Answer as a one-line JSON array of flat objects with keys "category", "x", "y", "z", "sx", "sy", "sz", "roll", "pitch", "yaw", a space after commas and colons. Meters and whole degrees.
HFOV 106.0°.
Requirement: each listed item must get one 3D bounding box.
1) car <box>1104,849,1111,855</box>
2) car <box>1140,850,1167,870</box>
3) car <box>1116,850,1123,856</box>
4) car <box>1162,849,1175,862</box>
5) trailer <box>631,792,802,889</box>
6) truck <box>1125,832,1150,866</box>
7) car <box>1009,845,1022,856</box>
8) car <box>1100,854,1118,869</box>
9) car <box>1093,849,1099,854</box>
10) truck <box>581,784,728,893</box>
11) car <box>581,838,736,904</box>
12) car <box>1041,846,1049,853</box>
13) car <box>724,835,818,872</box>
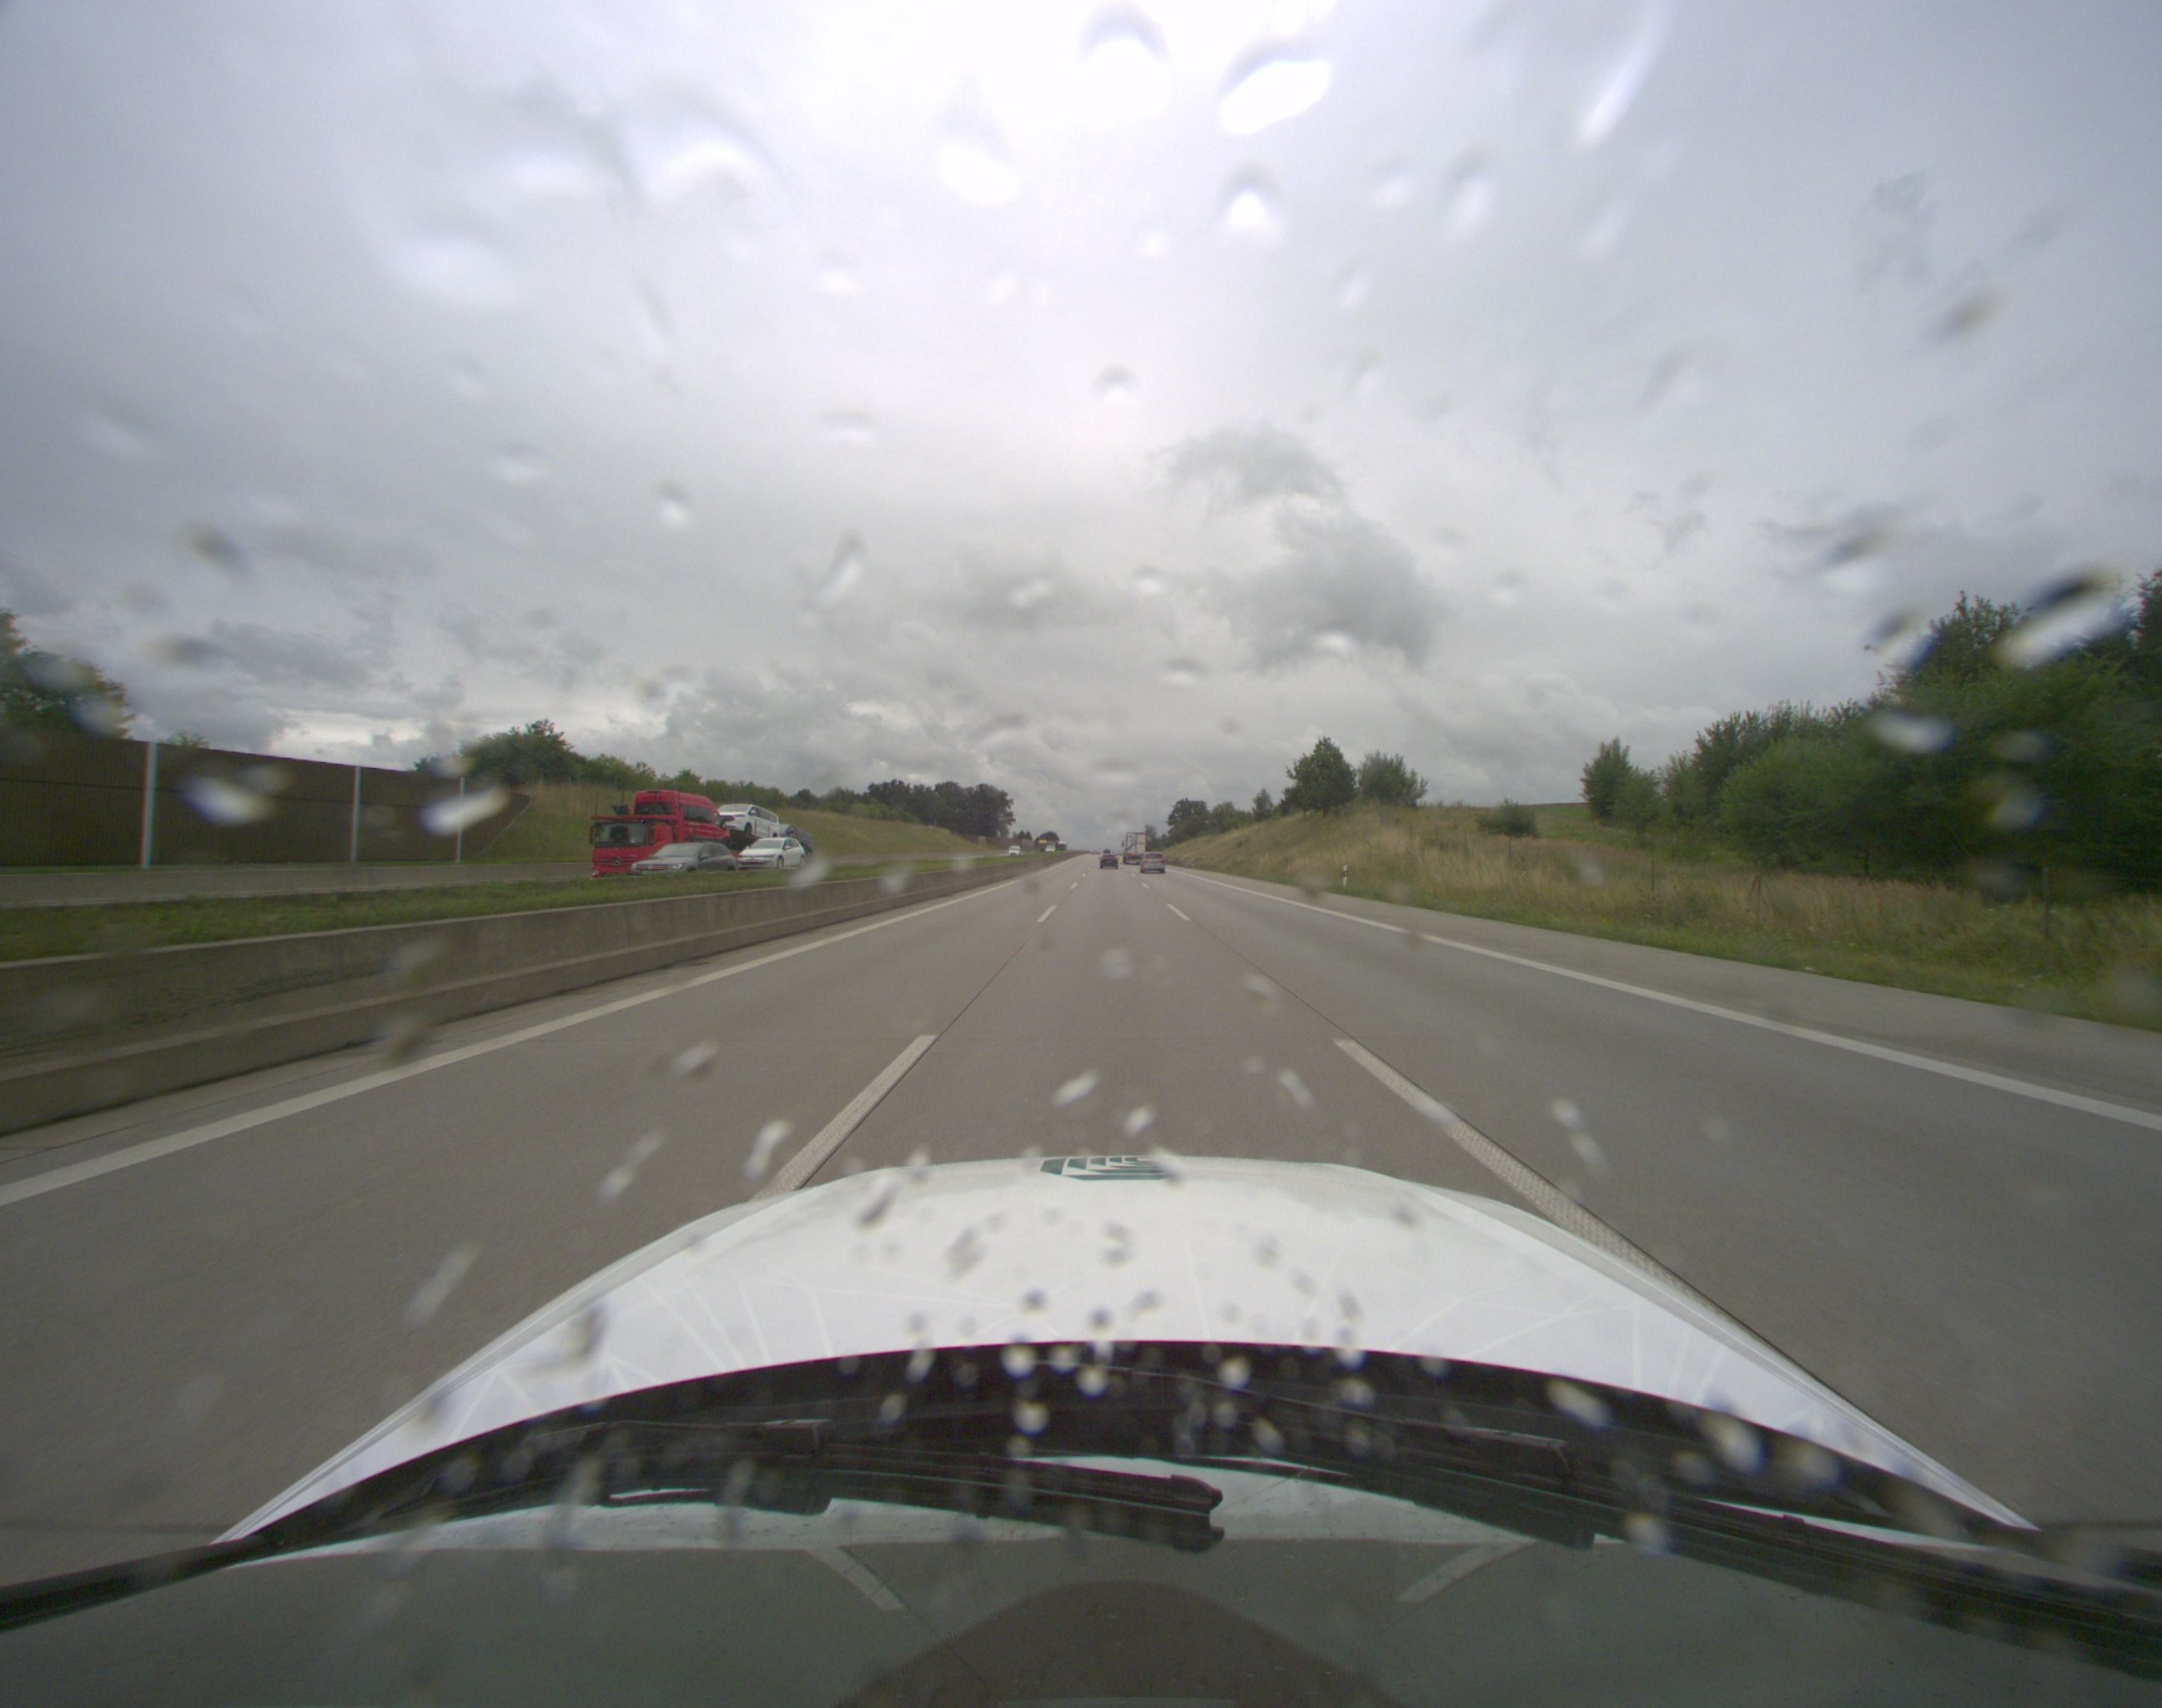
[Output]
[{"category": "car", "x": 6.911, "y": -0.502, "z": 212.428, "sx": 1.927, "sy": 1.375, "sz": 4.597, "roll": 0, "pitch": -2, "yaw": 3}, {"category": "car", "x": 5.566, "y": 0.452, "z": 62.996, "sx": 1.985, "sy": 1.530, "sz": 4.004, "roll": 0, "pitch": 0, "yaw": 4}, {"category": "car", "x": 11.354, "y": -0.256, "z": 241.646, "sx": 1.985, "sy": 1.640, "sz": 4.004, "roll": 0, "pitch": -1, "yaw": 4}, {"category": "car", "x": 14.306, "y": 0.264, "z": 133.284, "sx": 1.985, "sy": 2.014, "sz": 4.004, "roll": 0, "pitch": -1, "yaw": 4}, {"category": "trailer", "x": -18.322, "y": -0.579, "z": 42.544, "sx": 2.544, "sy": 4.218, "sz": 13.987, "roll": 0, "pitch": 0, "yaw": 0}, {"category": "truck", "x": 7.224, "y": -0.581, "z": 105.219, "sx": 3.006, "sy": 4.181, "sz": 8.357, "roll": 0, "pitch": -1, "yaw": 2}, {"category": "car", "x": -10.883, "y": -0.589, "z": 135.489, "sx": 1.755, "sy": 1.860, "sz": 4.001, "roll": 0, "pitch": 0, "yaw": 1}, {"category": "car", "x": 2.710, "y": 0.767, "z": 79.221, "sx": 1.746, "sy": 1.398, "sz": 4.484, "roll": 0, "pitch": -1, "yaw": 1}, {"category": "car", "x": 4.785, "y": -0.737, "z": 258.969, "sx": 1.939, "sy": 1.356, "sz": 4.263, "roll": 0, "pitch": 0, "yaw": 3}, {"category": "truck", "x": -18.315, "y": -0.591, "z": 35.648, "sx": 2.544, "sy": 4.252, "sz": 7.461, "roll": 0, "pitch": 0, "yaw": -1}, {"category": "car", "x": -14.116, "y": 0.533, "z": 27.737, "sx": 2.141, "sy": 2.013, "sz": 5.750, "roll": 0, "pitch": 0, "yaw": 2}, {"category": "car", "x": -11.056, "y": -1.381, "z": 250.077, "sx": 1.986, "sy": 1.838, "sz": 4.002, "roll": 0, "pitch": 0, "yaw": 2}, {"category": "car", "x": -14.050, "y": -0.063, "z": 37.335, "sx": 2.141, "sy": 1.551, "sz": 5.352, "roll": 0, "pitch": 1, "yaw": 2}]
